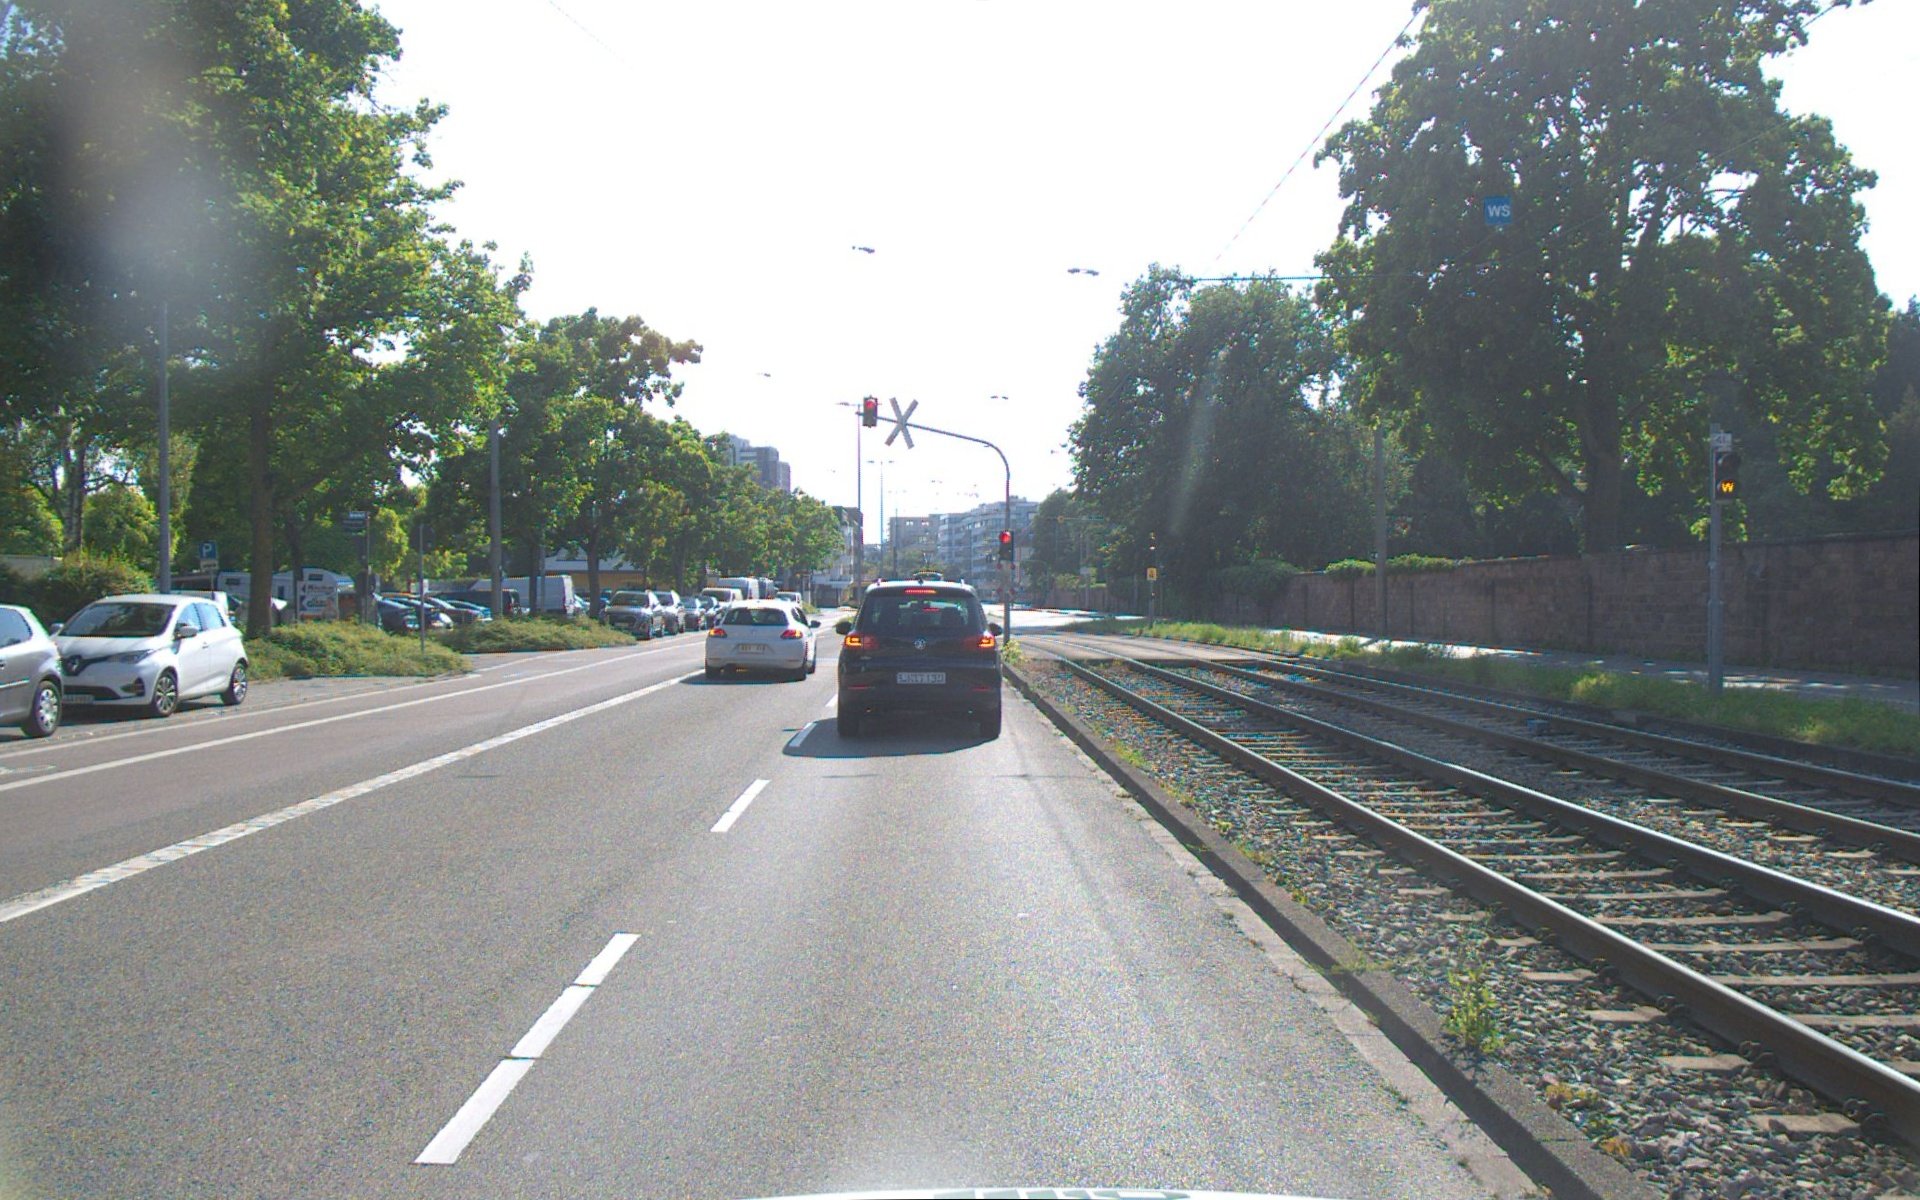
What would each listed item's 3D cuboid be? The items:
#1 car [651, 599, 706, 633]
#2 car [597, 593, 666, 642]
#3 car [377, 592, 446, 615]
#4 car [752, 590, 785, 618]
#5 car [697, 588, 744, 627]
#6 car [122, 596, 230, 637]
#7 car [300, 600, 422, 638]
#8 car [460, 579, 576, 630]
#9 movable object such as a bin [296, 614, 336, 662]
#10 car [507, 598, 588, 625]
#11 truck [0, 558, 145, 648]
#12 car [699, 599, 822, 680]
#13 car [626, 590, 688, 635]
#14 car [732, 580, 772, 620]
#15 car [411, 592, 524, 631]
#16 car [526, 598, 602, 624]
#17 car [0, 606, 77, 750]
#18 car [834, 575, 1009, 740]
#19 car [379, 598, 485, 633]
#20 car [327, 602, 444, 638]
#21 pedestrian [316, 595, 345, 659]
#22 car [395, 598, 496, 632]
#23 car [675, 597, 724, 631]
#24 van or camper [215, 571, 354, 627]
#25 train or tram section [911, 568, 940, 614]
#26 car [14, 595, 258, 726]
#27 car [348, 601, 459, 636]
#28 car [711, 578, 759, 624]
[{"bbox_3d":[-12.207,0.670,71.846,1.696,1.413,3.735,0,1,0],"label":"car"},{"bbox_3d":[-11.866,0.606,59.950,1.696,1.687,4.000,0,0,0],"label":"car"},{"bbox_3d":[-35.555,0.202,107.331,3.908,1.422,1.736,0,0,-4],"label":"car"},{"bbox_3d":[-12.515,0.255,108.194,1.696,1.724,4.000,0,1,0],"label":"car"},{"bbox_3d":[-11.991,0.344,83.054,1.696,1.892,4.489,0,0,0],"label":"car"},{"bbox_3d":[-34.151,0.700,72.142,3.912,1.758,1.624,0,0,-8],"label":"car"},{"bbox_3d":[-22.126,0.700,61.201,3.908,1.330,1.736,0,0,-4],"label":"car"},{"bbox_3d":[-22.060,0.199,82.697,5.266,2.466,2.087,0,0,-1],"label":"car"},{"bbox_3d":[-16.323,0.958,41.967,0.531,1.166,1.261,0,0,-1],"label":"movable object such as a bin"},{"bbox_3d":[-21.946,0.603,88.106,3.908,1.422,1.736,0,0,-4],"label":"car"},{"bbox_3d":[-34.510,0.108,61.981,6.823,3.299,1.986,0,0,-3],"label":"truck"},{"bbox_3d":[-3.598,0.675,30.419,1.827,1.371,3.999,0,0,-1],"label":"car"},{"bbox_3d":[-11.960,0.466,65.539,1.696,1.724,4.000,0,1,0],"label":"car"},{"bbox_3d":[-12.092,-0.004,96.556,1.696,2.308,4.645,0,0,0],"label":"car"},{"bbox_3d":[-22.200,0.509,74.649,4.526,1.680,2.048,0,0,-3],"label":"car"},{"bbox_3d":[-22.363,0.589,93.569,3.908,1.422,1.736,0,0,-4],"label":"car"},{"bbox_3d":[-10.858,0.820,16.959,1.643,1.494,3.966,0,0,-3],"label":"car"},{"bbox_3d":[-0.426,0.600,18.988,1.774,1.673,3.999,1,0,-1],"label":"car"},{"bbox_3d":[-22.093,0.648,69.295,3.908,1.422,1.736,0,0,-4],"label":"car"},{"bbox_3d":[-22.116,0.752,63.793,3.908,1.330,1.736,0,0,-4],"label":"car"},{"bbox_3d":[-16.327,0.694,42.910,0.514,1.656,0.610,0,0,-1],"label":"pedestrian"},{"bbox_3d":[-22.437,0.640,72.255,3.908,1.422,1.736,0,0,-4],"label":"car"},{"bbox_3d":[-12.206,0.635,77.729,1.696,1.475,3.735,0,1,0],"label":"car"},{"bbox_3d":[-35.528,-0.060,87.076,6.332,2.918,2.307,0,0,-1],"label":"van or camper"},{"bbox_3d":[-2.818,-0.735,135.755,2.279,3.632,8.898,0,0,-1],"label":"train or tram section"},{"bbox_3d":[-11.053,0.746,22.477,1.569,1.577,3.891,2,0,-4],"label":"car"},{"bbox_3d":[-22.532,0.744,67.070,3.908,1.330,1.736,0,0,-4],"label":"car"},{"bbox_3d":[-12.175,0.054,89.726,1.825,2.389,4.985,0,0,0],"label":"car"}]
